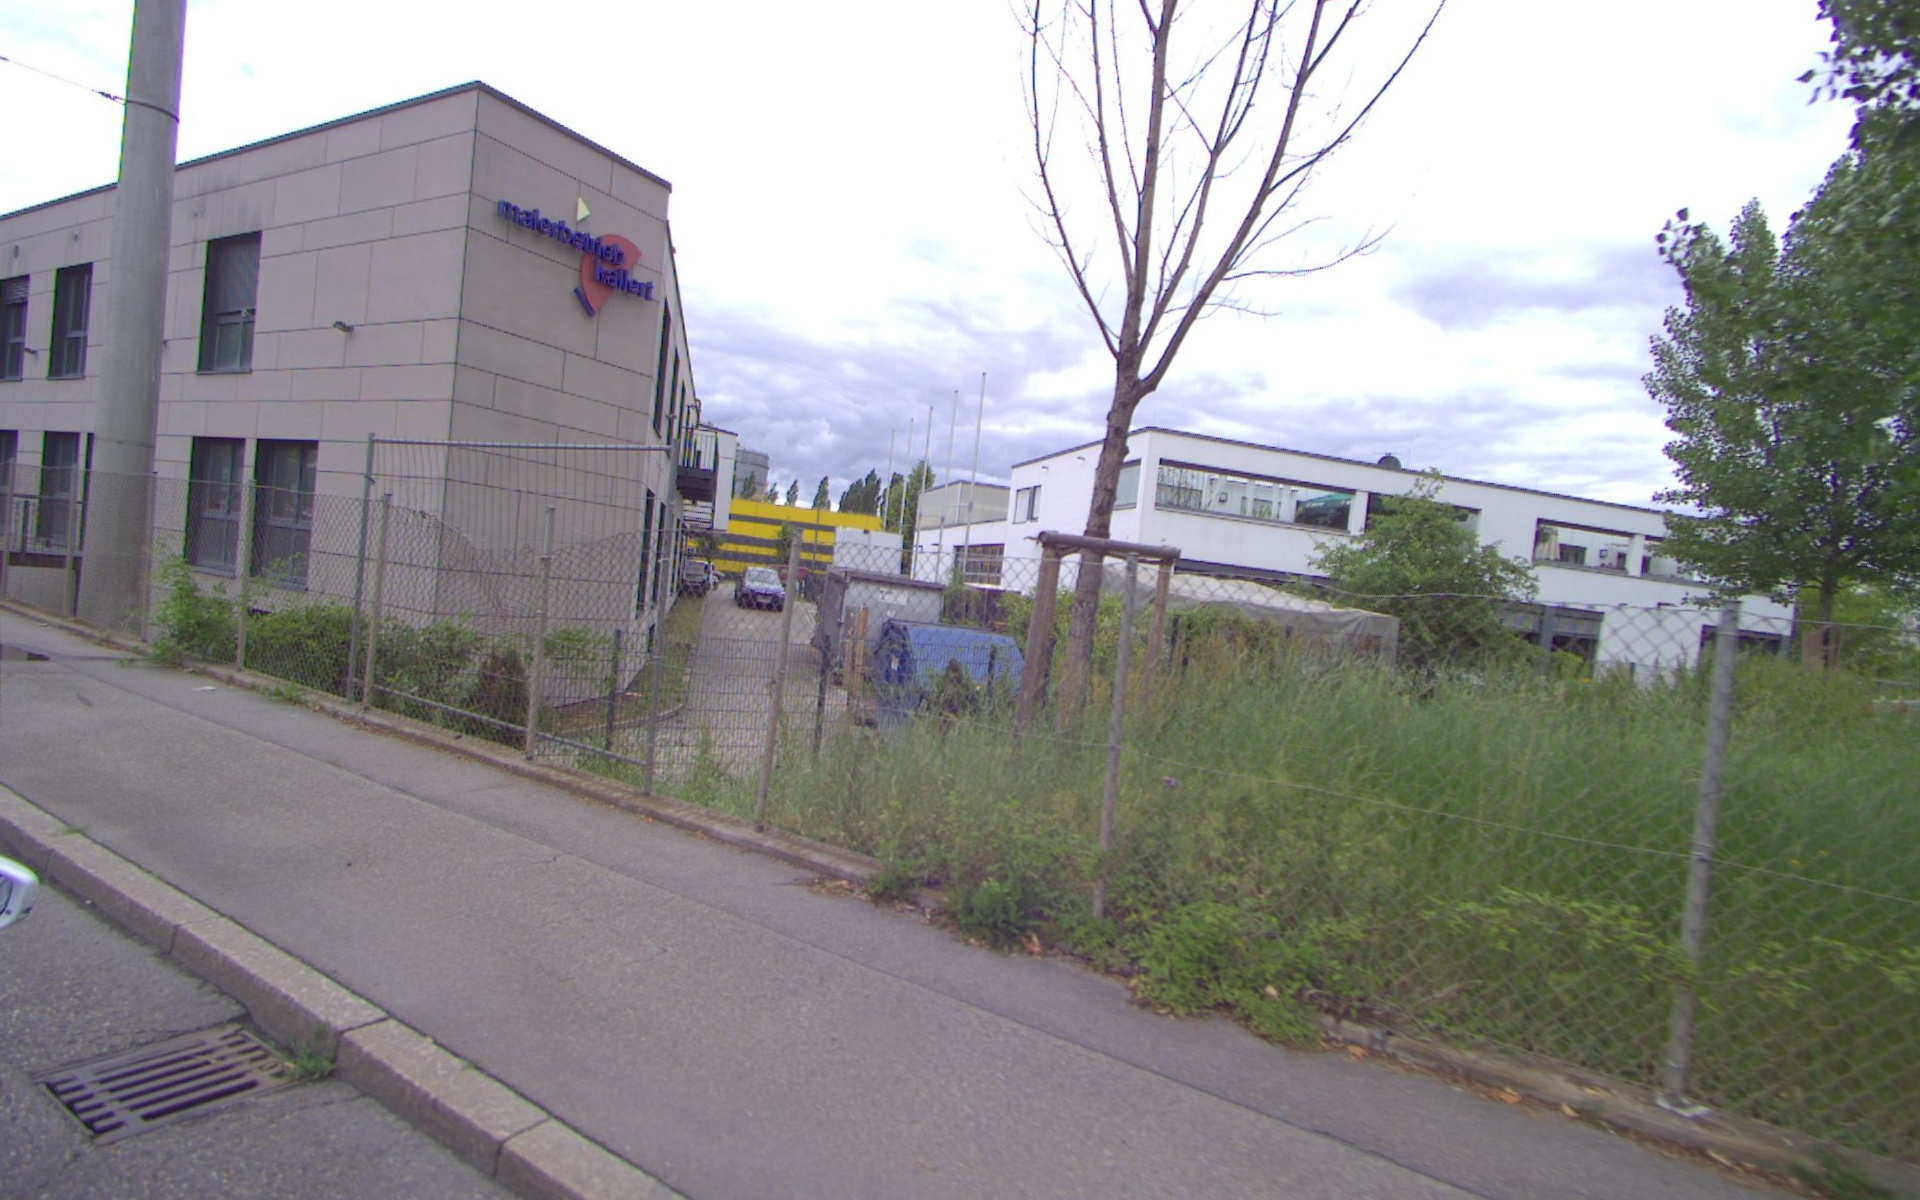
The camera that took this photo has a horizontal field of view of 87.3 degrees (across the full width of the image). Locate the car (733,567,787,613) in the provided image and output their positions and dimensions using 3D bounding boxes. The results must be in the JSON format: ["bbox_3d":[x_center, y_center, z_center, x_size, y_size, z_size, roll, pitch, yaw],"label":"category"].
[{"bbox_3d":[-7.719,-0.335,38.680,1.848,1.593,3.993,3,-1,-12],"label":"car"}]
